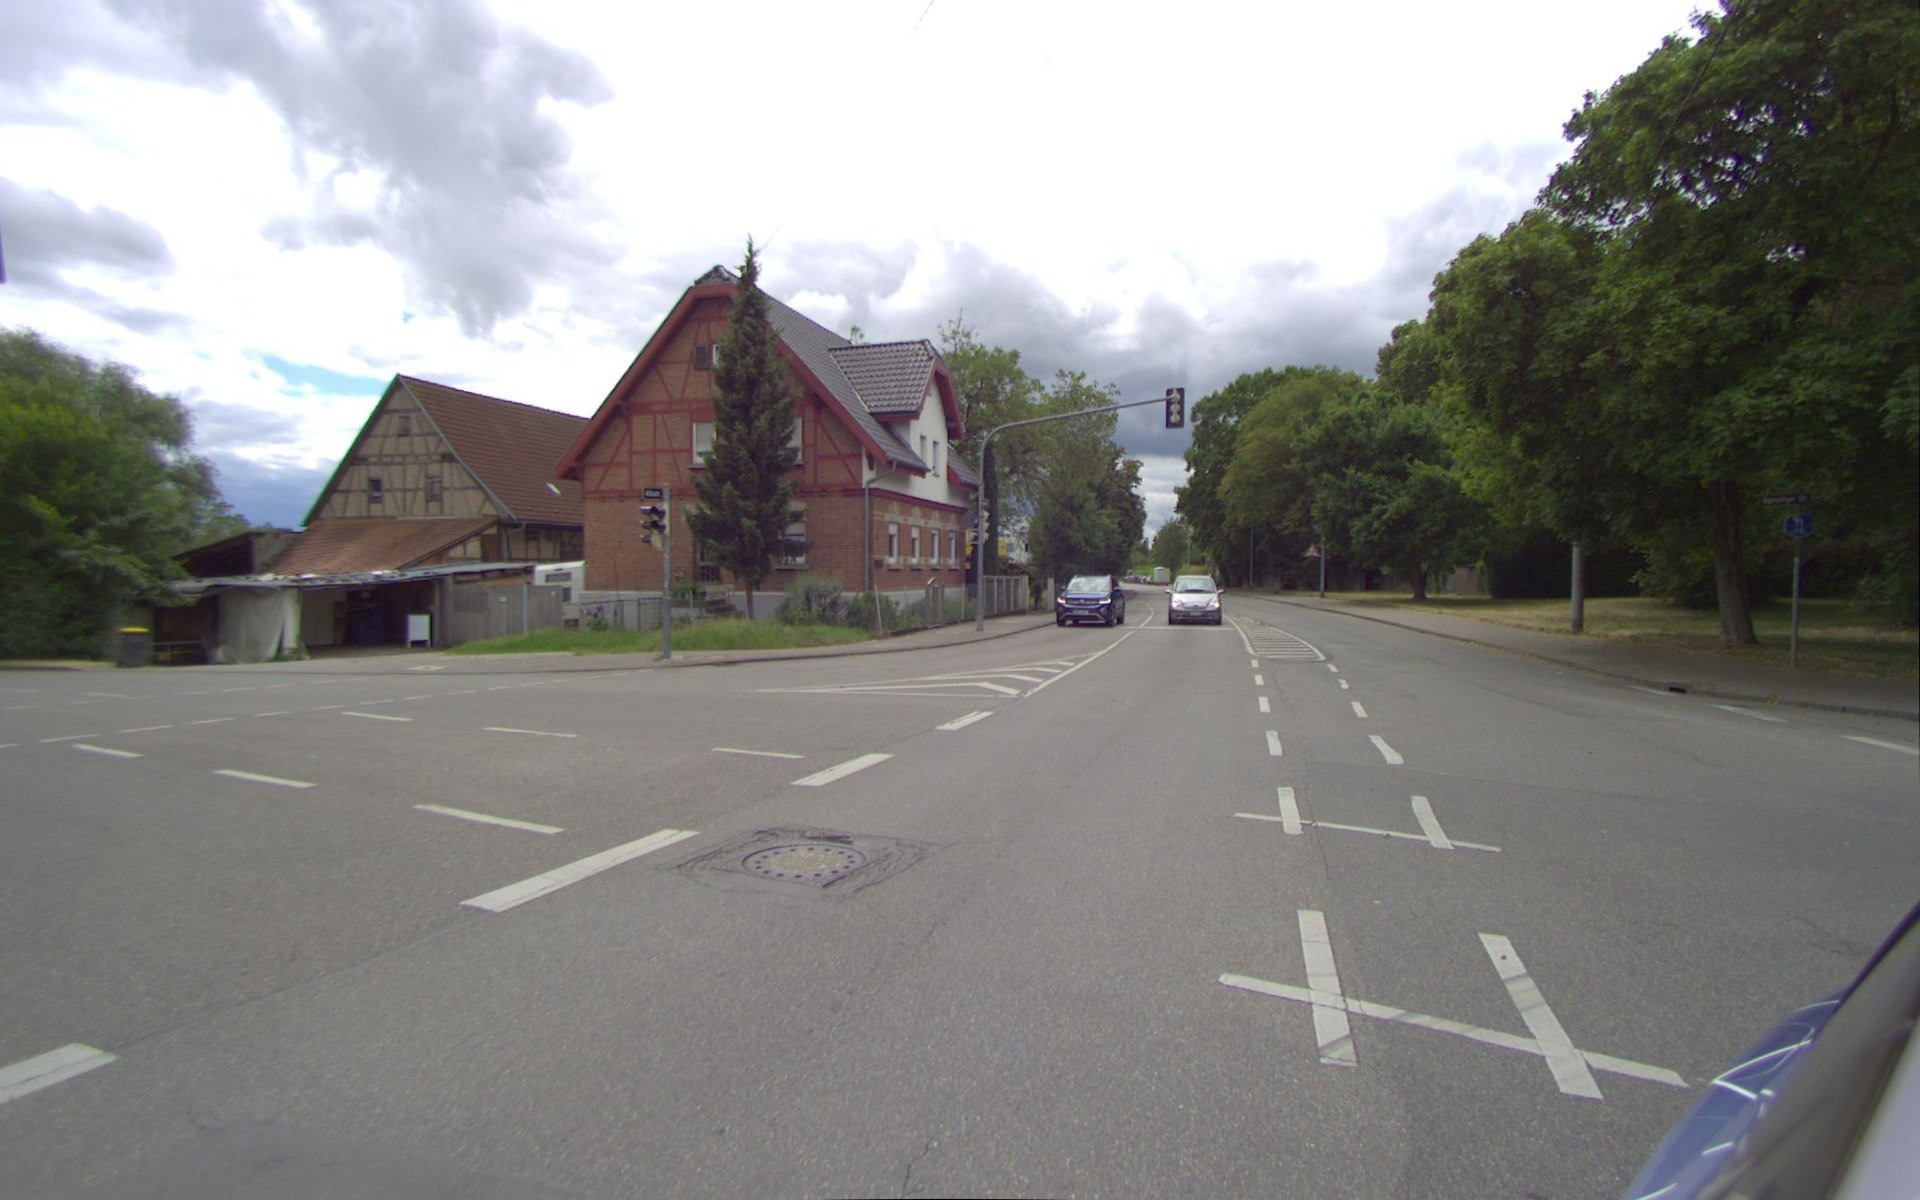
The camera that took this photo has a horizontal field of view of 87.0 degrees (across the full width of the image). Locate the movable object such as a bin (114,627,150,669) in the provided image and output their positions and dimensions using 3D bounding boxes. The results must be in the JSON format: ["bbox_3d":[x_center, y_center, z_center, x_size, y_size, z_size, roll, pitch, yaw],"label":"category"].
[{"bbox_3d":[-19.411,1.109,23.729,0.582,0.918,0.603,-1,1,-33],"label":"movable object such as a bin"}]

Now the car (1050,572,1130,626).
[{"bbox_3d":[4.148,-0.077,31.771,1.901,1.537,3.981,0,2,16],"label":"car"}]

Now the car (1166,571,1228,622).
[{"bbox_3d":[7.761,-0.157,33.385,1.752,1.537,3.549,-1,2,10],"label":"car"}]
